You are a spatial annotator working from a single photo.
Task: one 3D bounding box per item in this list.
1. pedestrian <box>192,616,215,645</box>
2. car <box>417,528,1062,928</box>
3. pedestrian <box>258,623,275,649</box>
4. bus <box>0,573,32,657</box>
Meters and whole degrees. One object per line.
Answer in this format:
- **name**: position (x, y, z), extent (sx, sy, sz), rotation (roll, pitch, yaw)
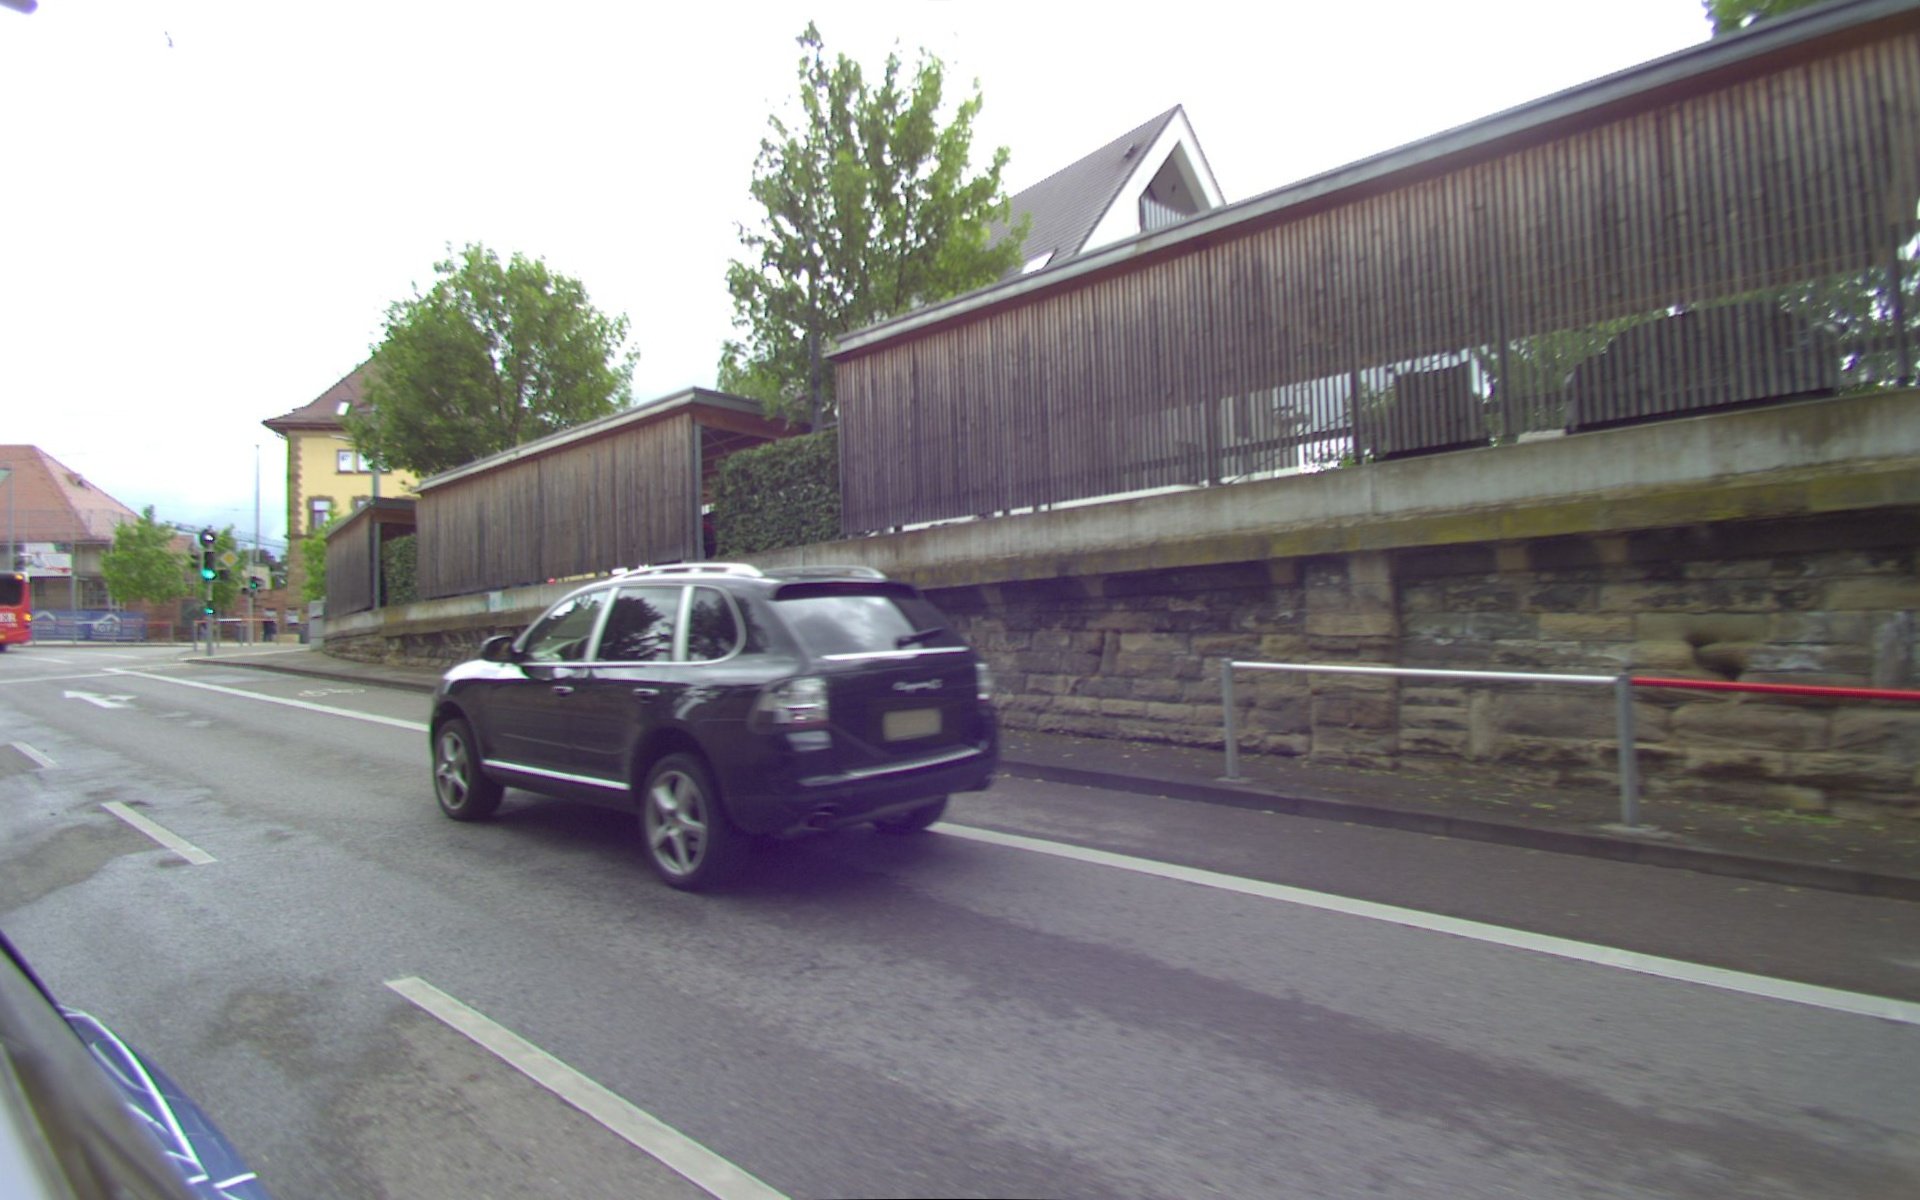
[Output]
- **pedestrian**: position (-47.071, 1.899, 62.990), extent (0.785, 1.733, 0.928), rotation (1, -2, -11)
- **car**: position (-1.681, 0.614, 6.672), extent (4.435, 1.770, 1.874), rotation (-1, -2, 41)
- **pedestrian**: position (-41.885, 2.173, 61.138), extent (0.644, 1.589, 0.539), rotation (0, -2, 2)
- **bus**: position (-39.594, 0.638, 39.760), extent (8.268, 3.145, 2.637), rotation (-1, 0, 33)
